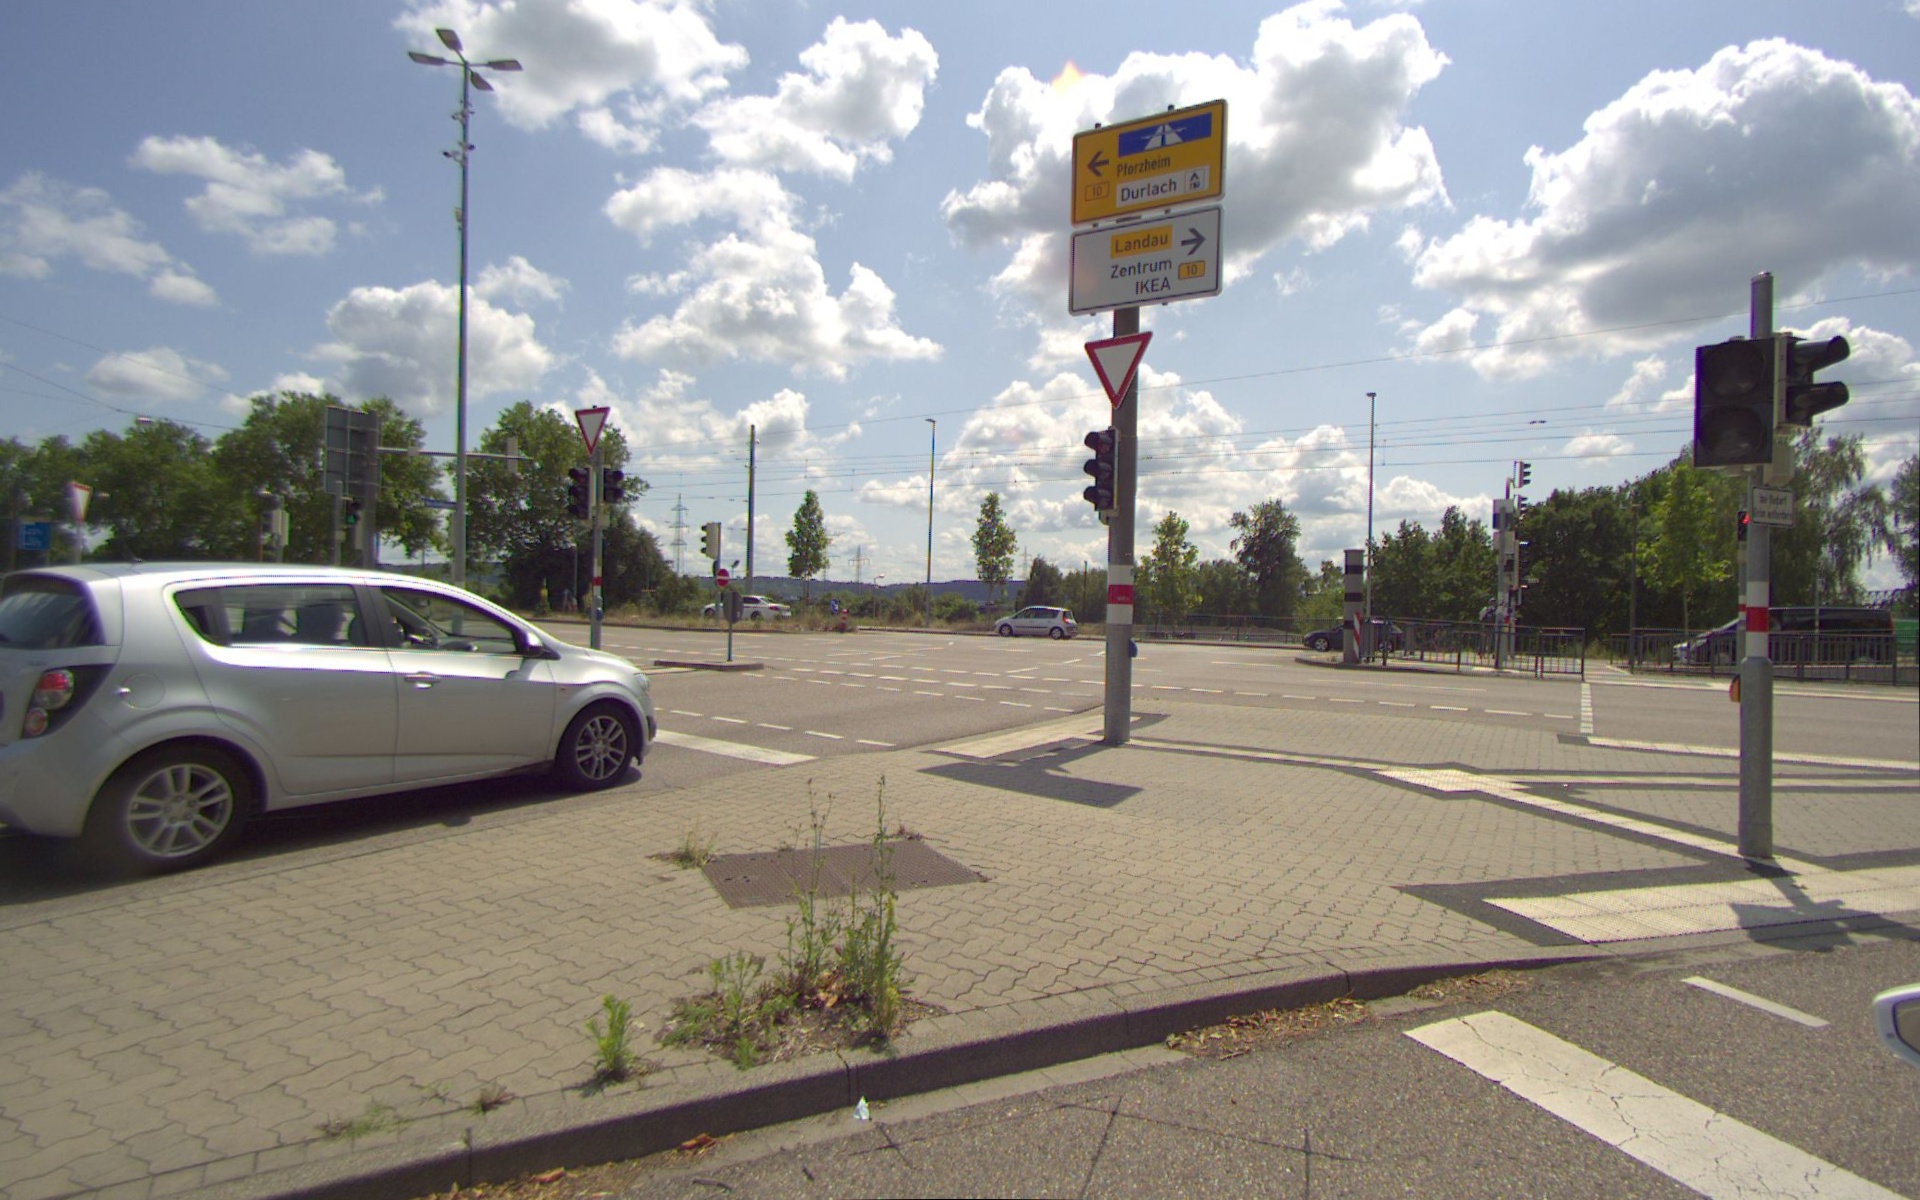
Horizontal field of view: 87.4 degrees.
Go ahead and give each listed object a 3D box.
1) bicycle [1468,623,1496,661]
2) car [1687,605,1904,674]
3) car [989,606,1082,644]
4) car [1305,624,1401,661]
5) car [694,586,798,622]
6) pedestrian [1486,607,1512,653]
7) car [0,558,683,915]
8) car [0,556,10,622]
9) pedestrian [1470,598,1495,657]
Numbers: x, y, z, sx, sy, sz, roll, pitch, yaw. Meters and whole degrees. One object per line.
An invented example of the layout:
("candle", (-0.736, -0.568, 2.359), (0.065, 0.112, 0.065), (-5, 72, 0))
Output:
("bicycle", (15.921, 1.266, 30.628), (0.610, 1.102, 1.718), (1, 0, 33))
("car", (24.126, 1.091, 29.264), (4.585, 1.844, 1.996), (0, -1, 31))
("car", (3.774, 1.243, 50.129), (4.240, 1.679, 1.814), (1, -5, 24))
("car", (17.097, 1.826, 43.707), (3.818, 1.427, 1.669), (1, 0, 24))
("car", (-11.103, 0.211, 52.134), (5.036, 1.832, 1.999), (0, -1, 24))
("pedestrian", (24.088, 1.317, 44.899), (0.965, 2.040, 0.902), (0, 0, 23))
("car", (-3.853, 0.549, 6.345), (1.866, 1.489, 3.825), (3, 1, 30))
("car", (-31.796, -0.325, 32.091), (1.985, 2.040, 3.950), (1, -1, -42))
("pedestrian", (15.911, 0.830, 30.597), (0.602, 1.792, 0.670), (1, 0, 33))
